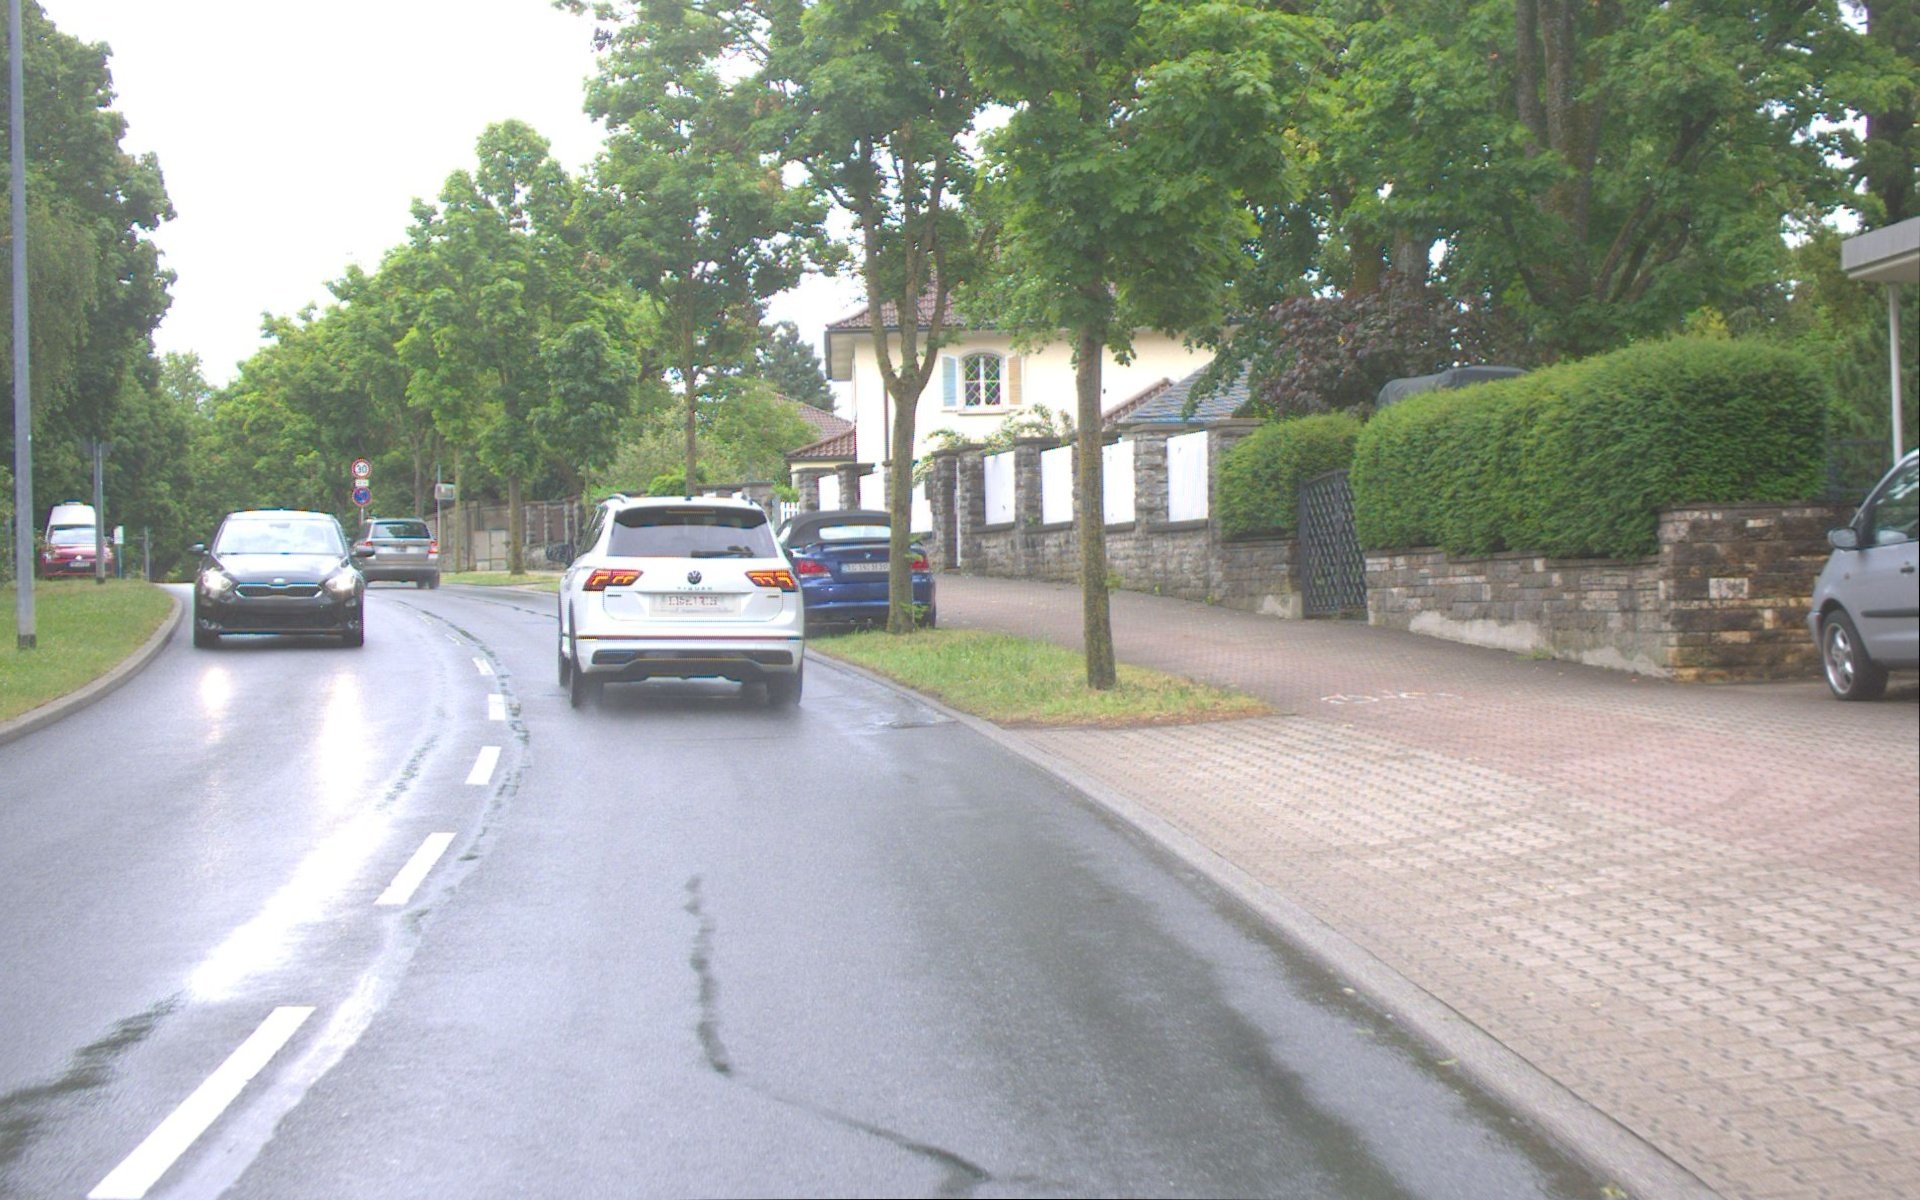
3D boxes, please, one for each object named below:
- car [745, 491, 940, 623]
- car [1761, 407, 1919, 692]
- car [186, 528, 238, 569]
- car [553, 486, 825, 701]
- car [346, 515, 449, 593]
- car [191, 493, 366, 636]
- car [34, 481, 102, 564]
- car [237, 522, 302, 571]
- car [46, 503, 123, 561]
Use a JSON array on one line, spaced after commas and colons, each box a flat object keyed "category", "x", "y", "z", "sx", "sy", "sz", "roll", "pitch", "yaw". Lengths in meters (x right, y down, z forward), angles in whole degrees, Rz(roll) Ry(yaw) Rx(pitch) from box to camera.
[{"category": "car", "x": -1.407, "y": -0.527, "z": 39.746, "sx": 1.641, "sy": 1.372, "sz": 3.830, "roll": -3, "pitch": 2, "yaw": -11}, {"category": "car", "x": 6.737, "y": -0.330, "z": 21.432, "sx": 1.794, "sy": 1.751, "sz": 4.944, "roll": -1, "pitch": 2, "yaw": -7}, {"category": "car", "x": -28.386, "y": -1.975, "z": 130.399, "sx": 1.851, "sy": 1.413, "sz": 4.228, "roll": 1, "pitch": 2, "yaw": -13}, {"category": "car", "x": -2.288, "y": -0.103, "z": 28.086, "sx": 1.996, "sy": 1.626, "sz": 4.001, "roll": 0, "pitch": 2, "yaw": -8}, {"category": "car", "x": -11.663, "y": -0.976, "z": 71.118, "sx": 1.840, "sy": 1.482, "sz": 4.002, "roll": 1, "pitch": 2, "yaw": -13}, {"category": "car", "x": -7.431, "y": -0.432, "z": 37.771, "sx": 1.754, "sy": 1.436, "sz": 4.158, "roll": 1, "pitch": 2, "yaw": -10}, {"category": "car", "x": -28.450, "y": -2.436, "z": 109.545, "sx": 1.993, "sy": 2.552, "sz": 5.234, "roll": -1, "pitch": 1, "yaw": -15}, {"category": "car", "x": -21.828, "y": -1.700, "z": 108.609, "sx": 1.851, "sy": 1.413, "sz": 4.228, "roll": 1, "pitch": 2, "yaw": -13}, {"category": "car", "x": -22.681, "y": -1.745, "z": 88.952, "sx": 1.842, "sy": 1.461, "sz": 4.251, "roll": 0, "pitch": 1, "yaw": -15}]
